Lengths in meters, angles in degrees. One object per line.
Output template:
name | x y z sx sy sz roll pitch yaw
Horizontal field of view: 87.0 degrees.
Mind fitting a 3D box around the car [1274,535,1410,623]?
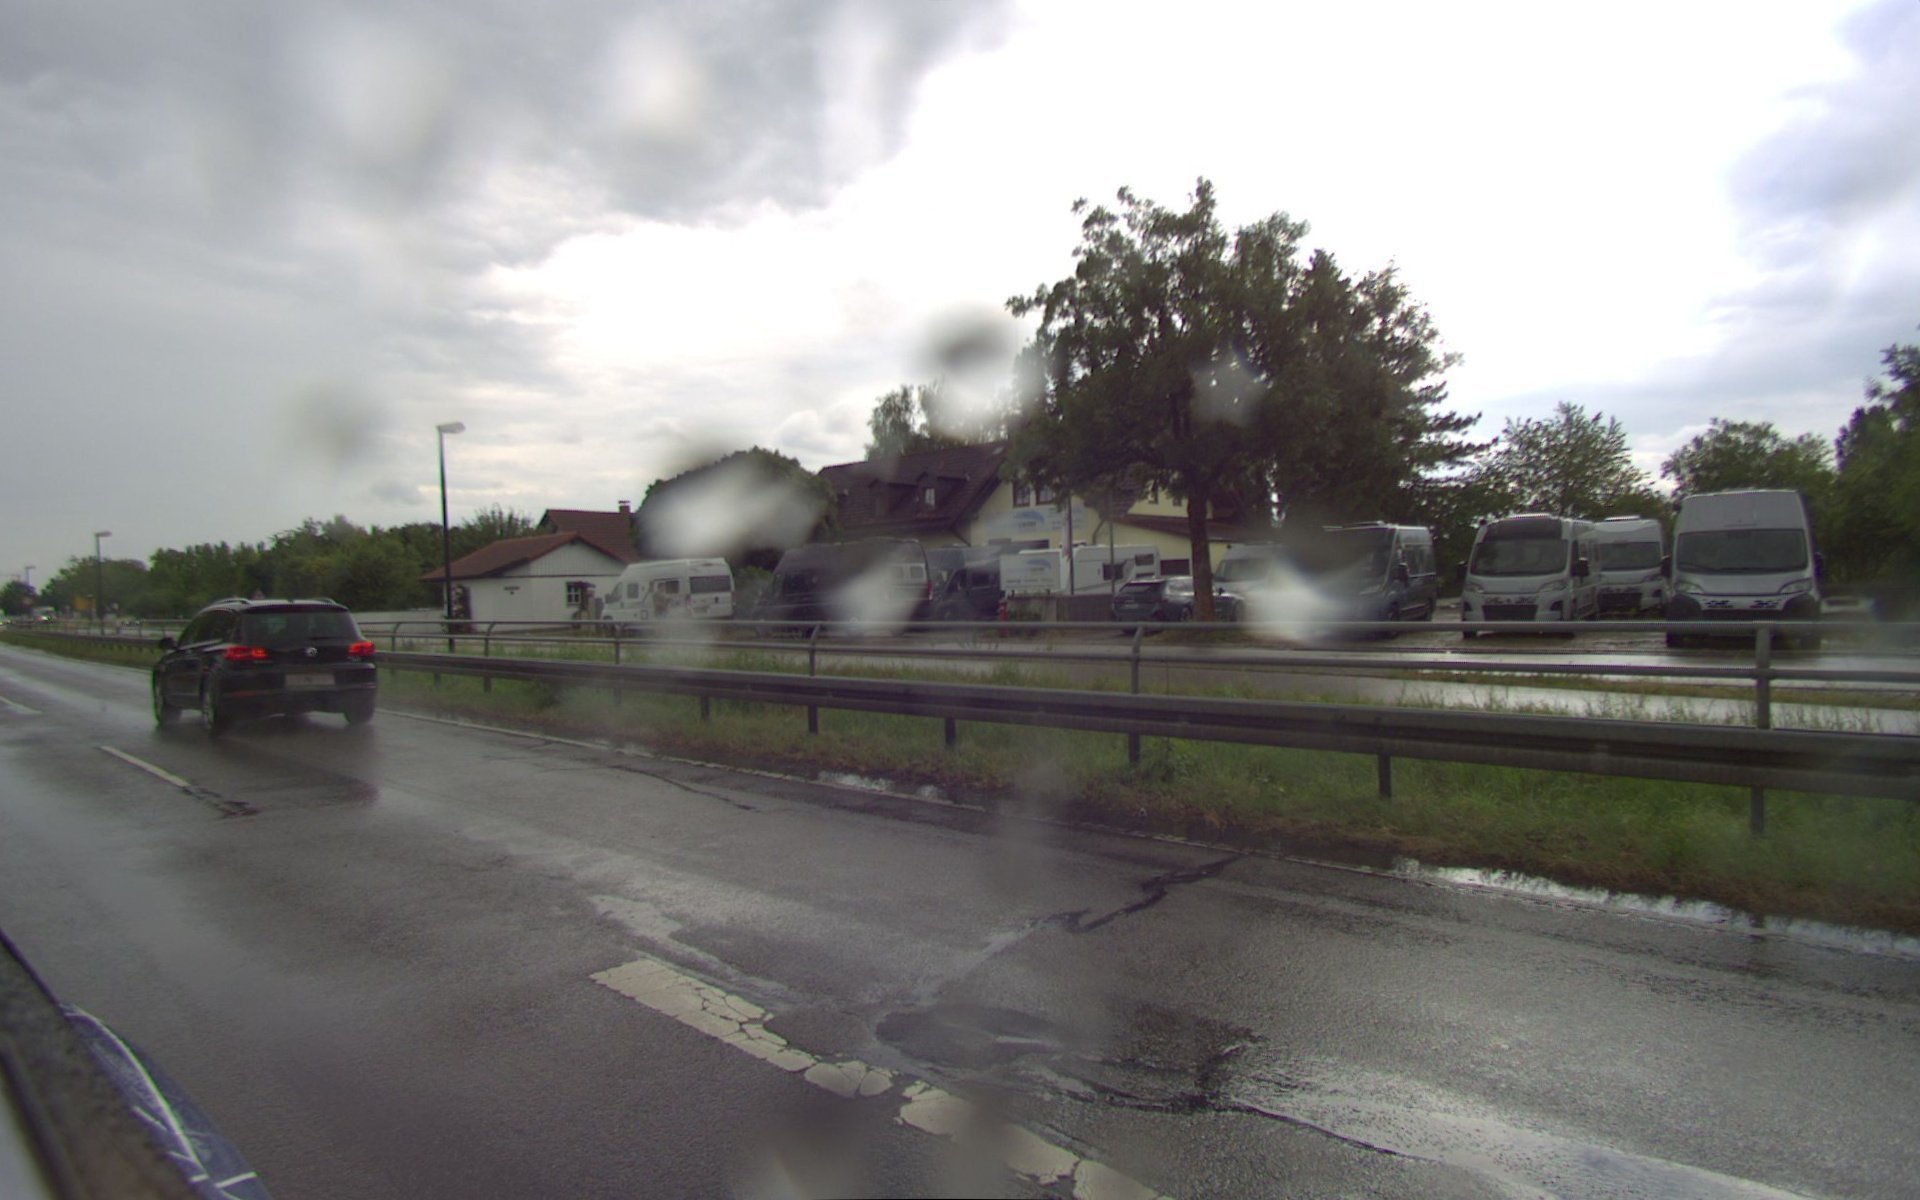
car | 12.358 -0.704 32.440 2.090 2.557 6.030 -2 1 41

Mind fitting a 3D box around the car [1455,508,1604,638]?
car | 12.413 -0.577 21.879 1.997 2.477 5.043 -2 1 38

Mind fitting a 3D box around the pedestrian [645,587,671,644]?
pedestrian | -9.356 0.479 31.359 0.509 1.723 0.651 -2 1 -41

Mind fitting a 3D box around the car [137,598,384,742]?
car | -9.359 0.831 13.433 3.997 1.631 1.746 -2 -1 41

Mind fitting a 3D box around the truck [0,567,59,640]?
truck | -69.474 0.256 74.710 7.778 5.071 3.215 -1 1 41

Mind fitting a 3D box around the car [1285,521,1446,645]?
car | 9.390 -0.417 23.136 1.997 2.520 5.133 -2 1 38

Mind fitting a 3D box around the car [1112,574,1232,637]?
car | 5.765 0.122 27.238 1.538 1.507 3.846 -2 1 39

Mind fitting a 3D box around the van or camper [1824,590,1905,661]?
van or camper | 39.303 1.047 44.106 2.321 2.697 5.817 -2 1 39

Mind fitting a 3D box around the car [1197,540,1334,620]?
car | 10.391 -0.695 34.072 2.090 2.435 6.030 -2 1 41

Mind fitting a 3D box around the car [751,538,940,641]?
car | -3.482 -0.265 30.038 5.570 2.783 2.358 -1 1 41

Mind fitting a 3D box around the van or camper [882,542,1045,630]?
van or camper | 0.264 -0.536 35.607 2.432 2.822 5.993 -2 1 39

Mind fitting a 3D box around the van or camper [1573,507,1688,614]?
van or camper | 18.342 -1.063 27.554 1.998 2.609 5.747 -2 1 39

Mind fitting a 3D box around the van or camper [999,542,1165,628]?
van or camper | 4.221 -0.534 33.983 2.560 2.611 6.162 -2 1 39

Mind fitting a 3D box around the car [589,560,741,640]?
car | -10.538 0.023 35.819 6.017 2.600 2.214 -1 1 42

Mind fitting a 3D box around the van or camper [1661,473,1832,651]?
van or camper | 14.259 -0.667 18.306 2.079 2.697 5.817 -2 1 39
